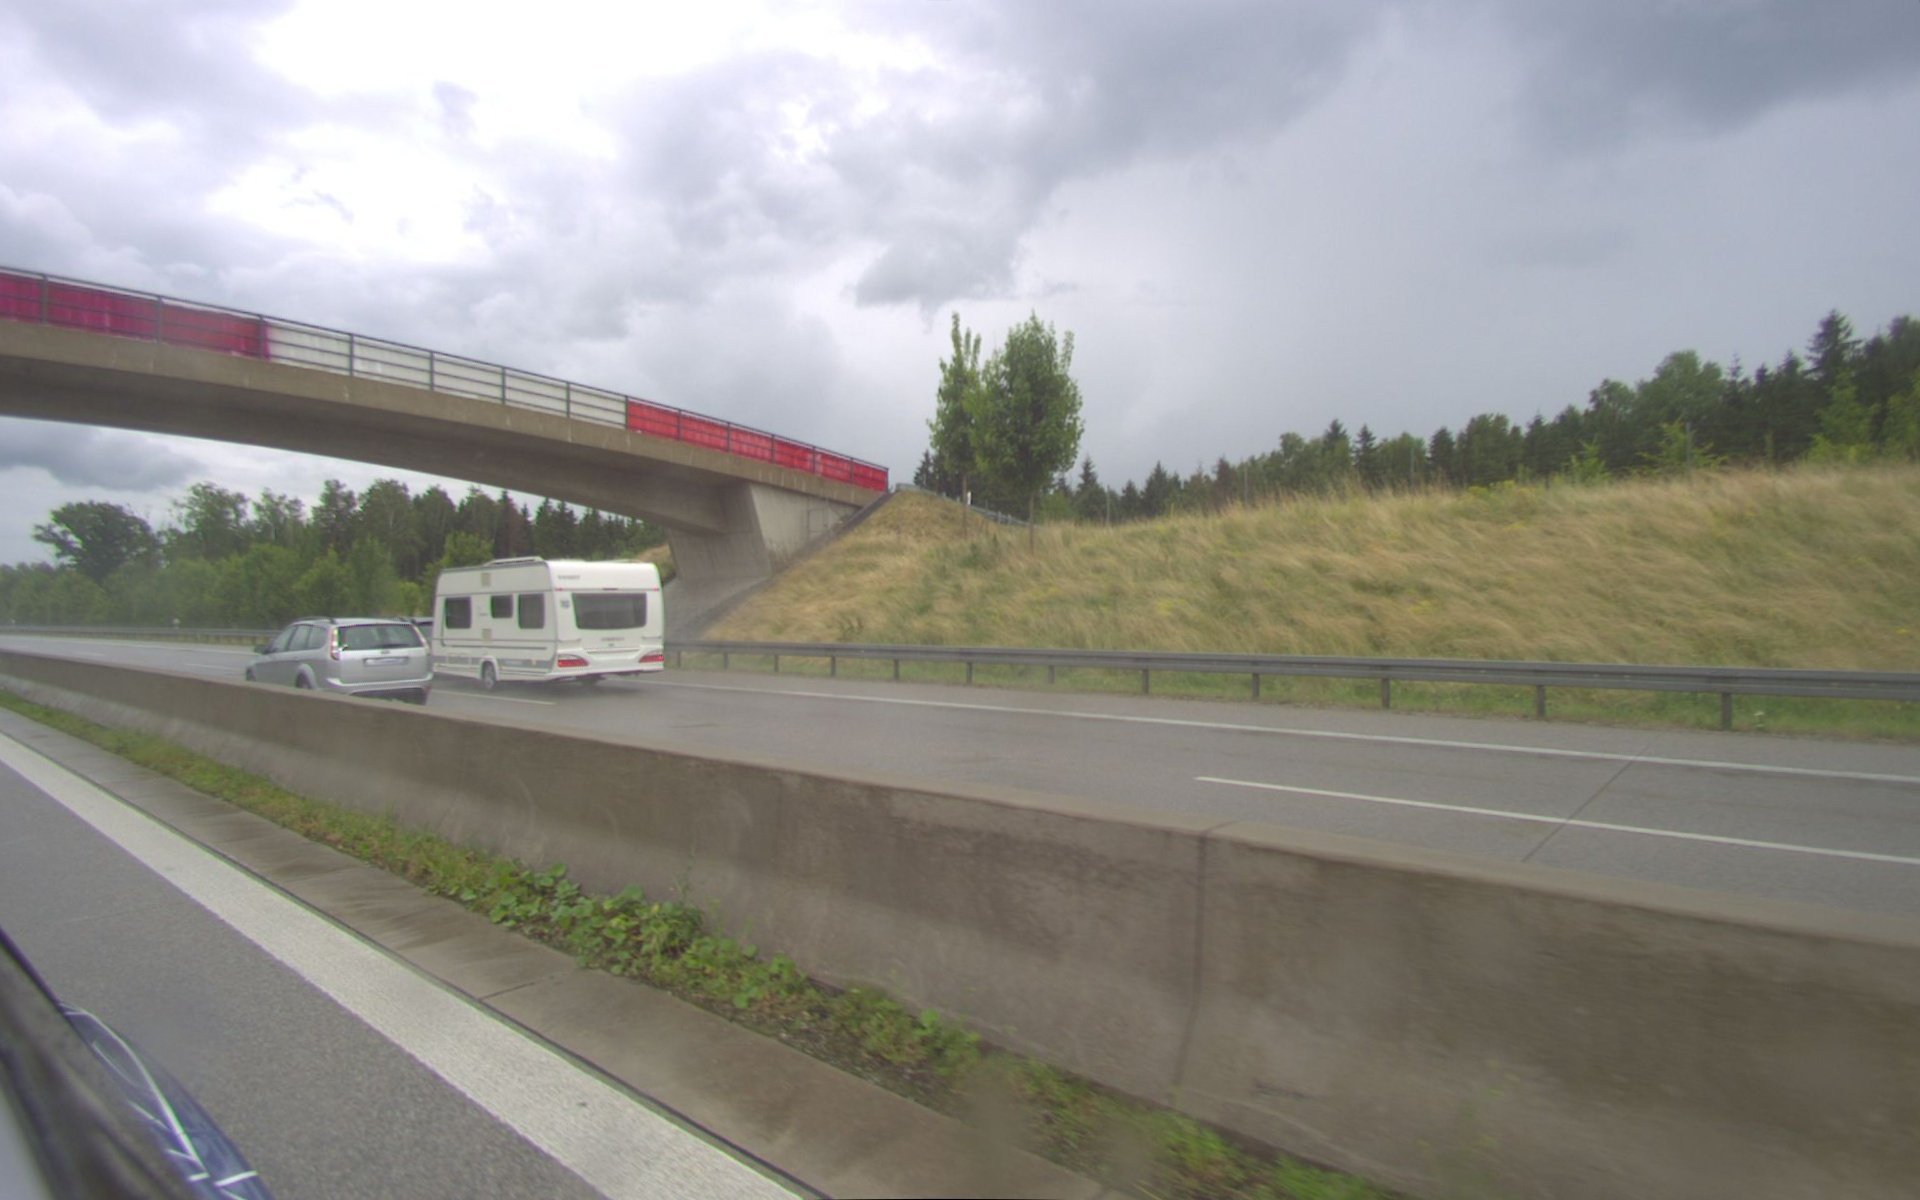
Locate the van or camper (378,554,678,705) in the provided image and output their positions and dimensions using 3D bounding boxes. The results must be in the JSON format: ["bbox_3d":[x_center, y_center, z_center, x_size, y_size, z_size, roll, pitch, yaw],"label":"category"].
[{"bbox_3d":[-9.198,0.657,20.948,7.923,2.615,2.419,-4,-1,41],"label":"van or camper"}]

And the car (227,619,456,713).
[{"bbox_3d":[-10.251,0.990,16.641,4.509,1.321,1.973,-1,-1,41],"label":"car"}]
